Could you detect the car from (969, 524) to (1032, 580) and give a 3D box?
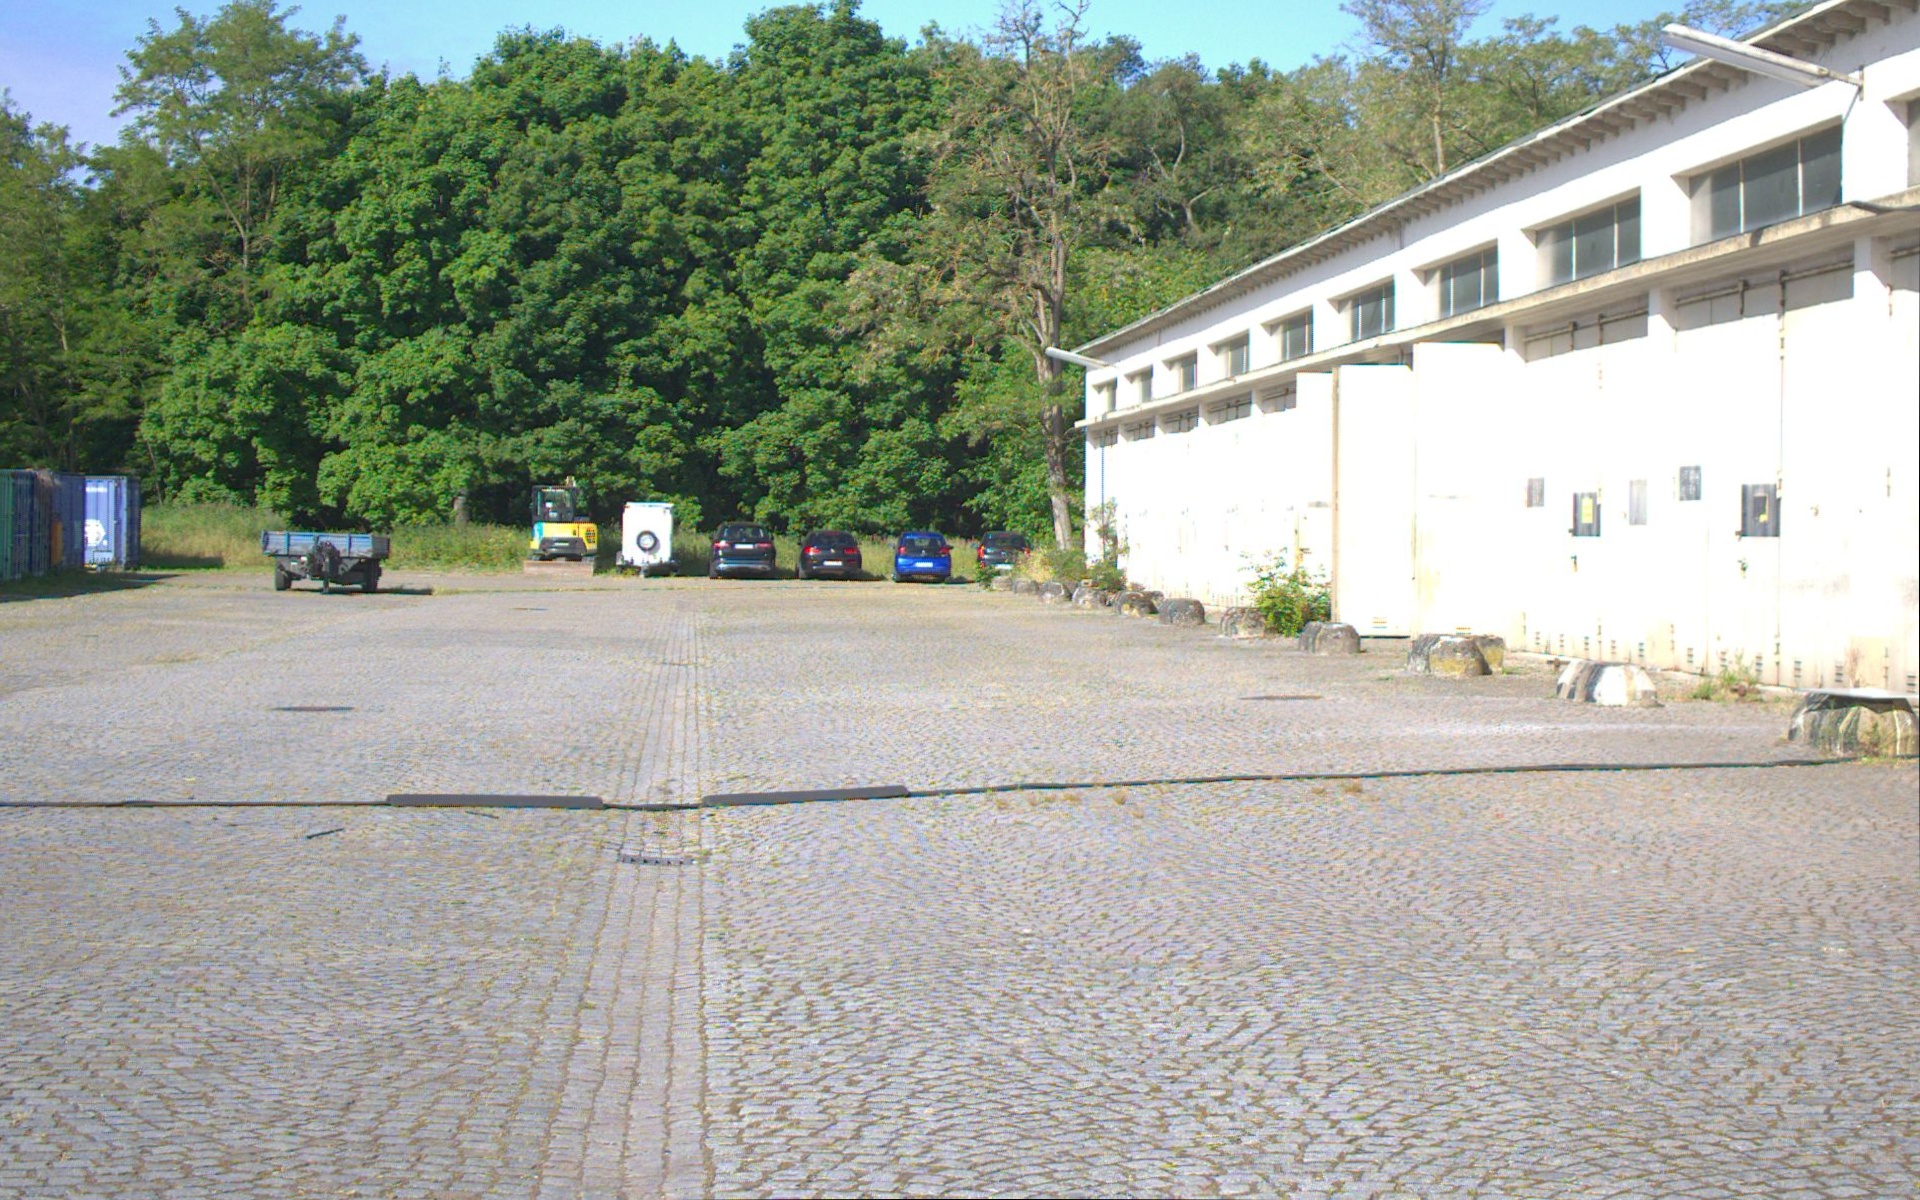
[{"bbox_3d":[1.203,-1.415,100.293,1.685,1.558,4.000,1,1,2],"label":"car"}]

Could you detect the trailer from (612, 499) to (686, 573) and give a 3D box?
[{"bbox_3d":[-9.004,-1.869,99.815,1.793,2.083,3.972,1,1,0],"label":"trailer"}]

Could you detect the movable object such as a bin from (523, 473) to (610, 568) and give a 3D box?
[{"bbox_3d":[-11.410,-2.307,99.909,1.993,2.609,4.000,3,1,0],"label":"movable object such as a bin"}]

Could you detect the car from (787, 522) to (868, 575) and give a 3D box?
[{"bbox_3d":[-3.777,-1.494,98.514,1.994,1.457,4.000,1,1,2],"label":"car"}]

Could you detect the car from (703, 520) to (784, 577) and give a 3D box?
[{"bbox_3d":[-6.163,-1.480,98.188,1.861,1.580,4.000,1,1,2],"label":"car"}]

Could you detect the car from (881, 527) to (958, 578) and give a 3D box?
[{"bbox_3d":[-1.145,-1.378,98.887,1.994,1.415,4.000,1,1,2],"label":"car"}]

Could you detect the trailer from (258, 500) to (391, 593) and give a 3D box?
[{"bbox_3d":[-14.809,-1.255,80.320,2.407,2.007,4.174,3,1,-2],"label":"trailer"}]
